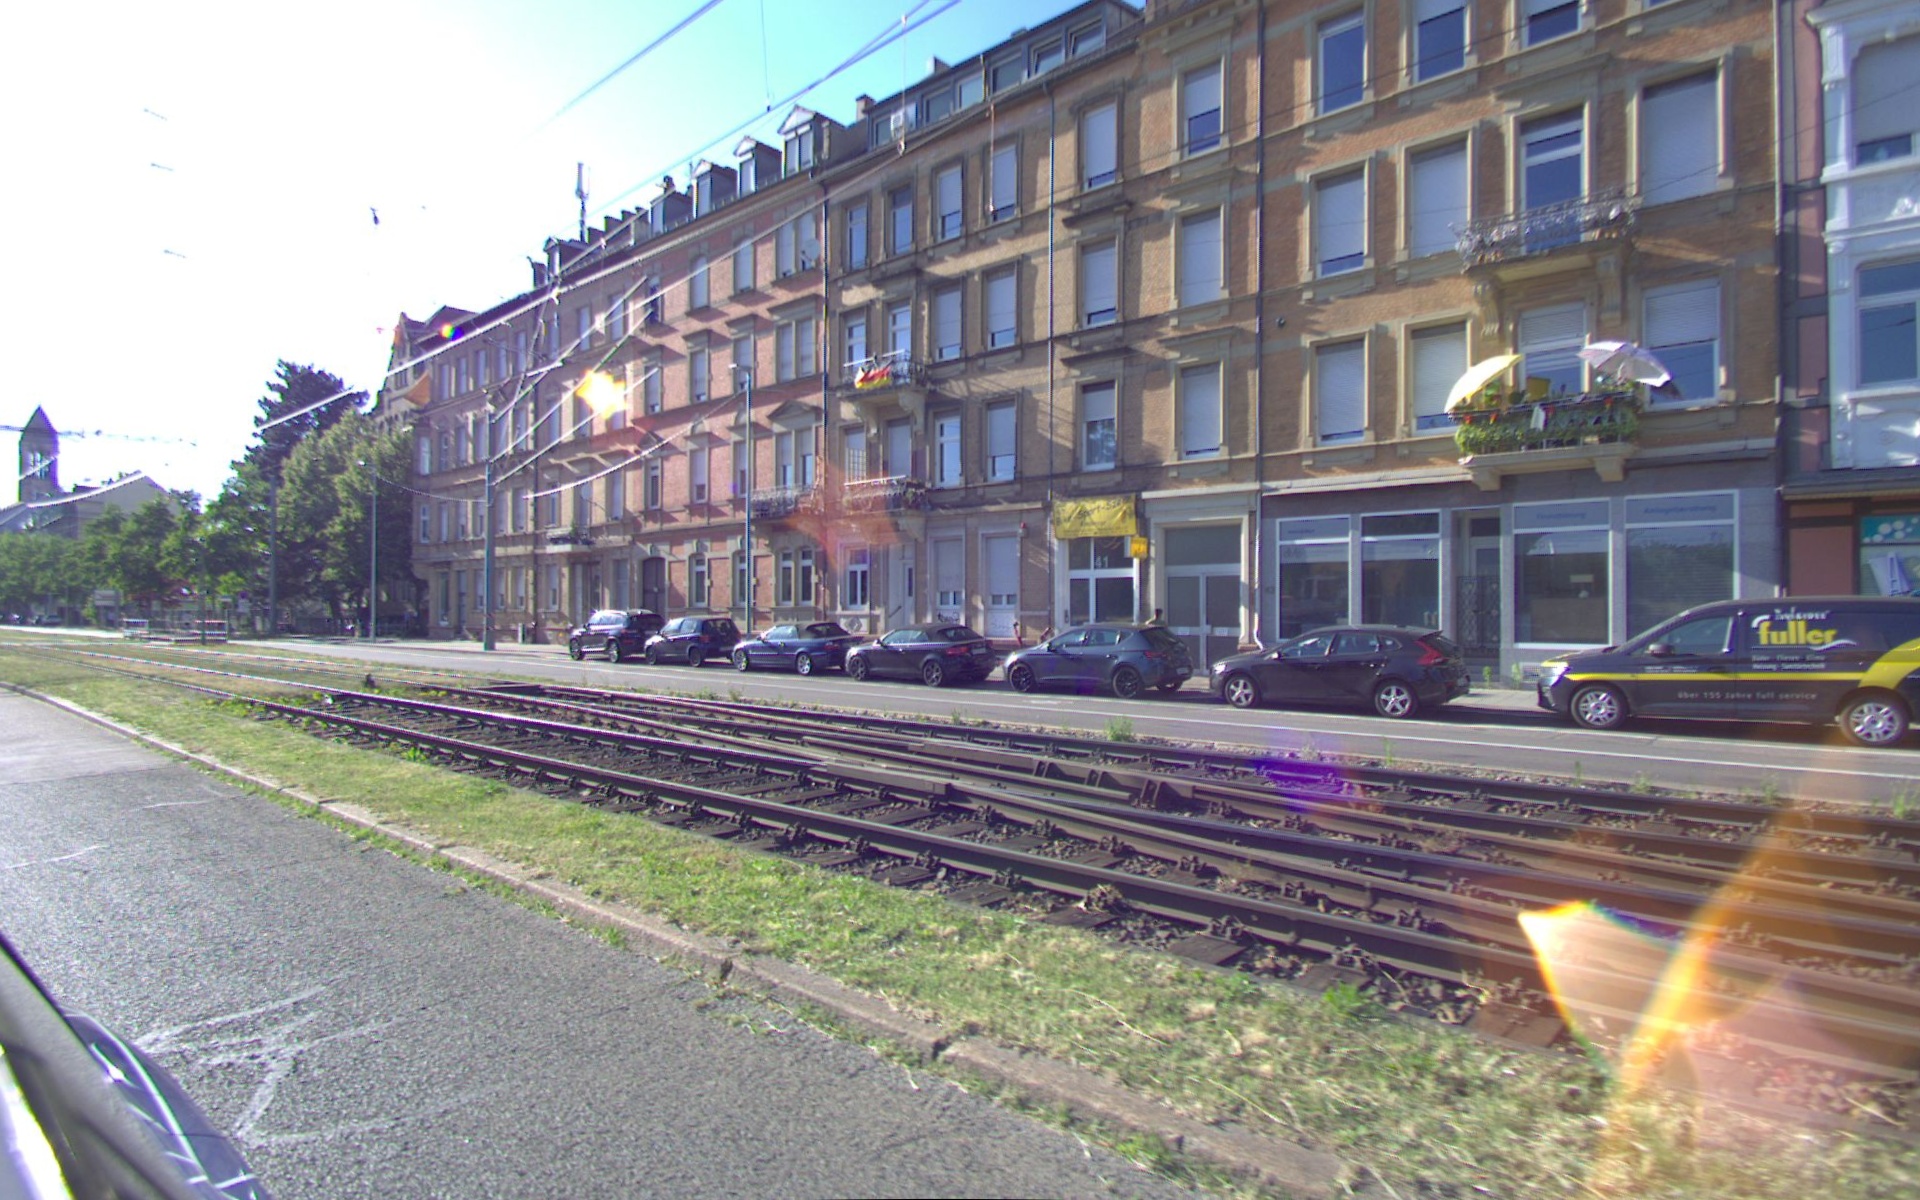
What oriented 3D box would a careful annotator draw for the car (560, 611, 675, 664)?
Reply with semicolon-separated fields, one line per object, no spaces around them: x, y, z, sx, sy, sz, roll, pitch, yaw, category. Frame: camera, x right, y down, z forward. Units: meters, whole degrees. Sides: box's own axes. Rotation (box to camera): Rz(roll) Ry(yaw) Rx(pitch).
-11.696;1.227;34.360;4.632;1.655;1.774;-1;0;44;car

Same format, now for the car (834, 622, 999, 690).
-1.122;1.287;24.581;3.980;1.456;1.642;-1;0;42;car

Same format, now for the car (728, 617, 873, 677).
-4.434;1.233;27.764;4.195;1.456;1.642;-1;0;42;car

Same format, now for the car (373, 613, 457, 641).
-37.740;1.836;70.178;4.983;1.838;2.029;0;1;-23;car

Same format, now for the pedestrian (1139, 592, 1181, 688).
4.292;0.844;21.732;0.868;2.029;0.634;0;1;12;pedestrian

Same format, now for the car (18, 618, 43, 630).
-118.065;3.056;128.563;3.997;1.522;1.776;-1;-2;40;car

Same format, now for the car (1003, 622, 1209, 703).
2.944;1.217;20.953;3.980;1.456;1.642;-1;0;42;car

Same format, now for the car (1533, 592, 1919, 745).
10.714;0.834;13.887;4.725;1.821;1.643;-1;0;40;car

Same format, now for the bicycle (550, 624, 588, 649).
-16.678;1.550;43.130;2.009;1.011;0.584;0;1;40;bicycle

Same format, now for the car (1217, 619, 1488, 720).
6.585;1.089;17.214;3.980;1.456;1.642;-1;0;42;car

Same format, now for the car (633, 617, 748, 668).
-8.422;1.269;31.463;3.764;1.456;1.642;-1;0;42;car

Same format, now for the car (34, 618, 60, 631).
-110.819;2.986;122.863;3.997;1.522;1.776;-1;-2;40;car

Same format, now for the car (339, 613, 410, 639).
-38.228;1.702;66.187;3.931;1.521;1.806;-1;1;-27;car
